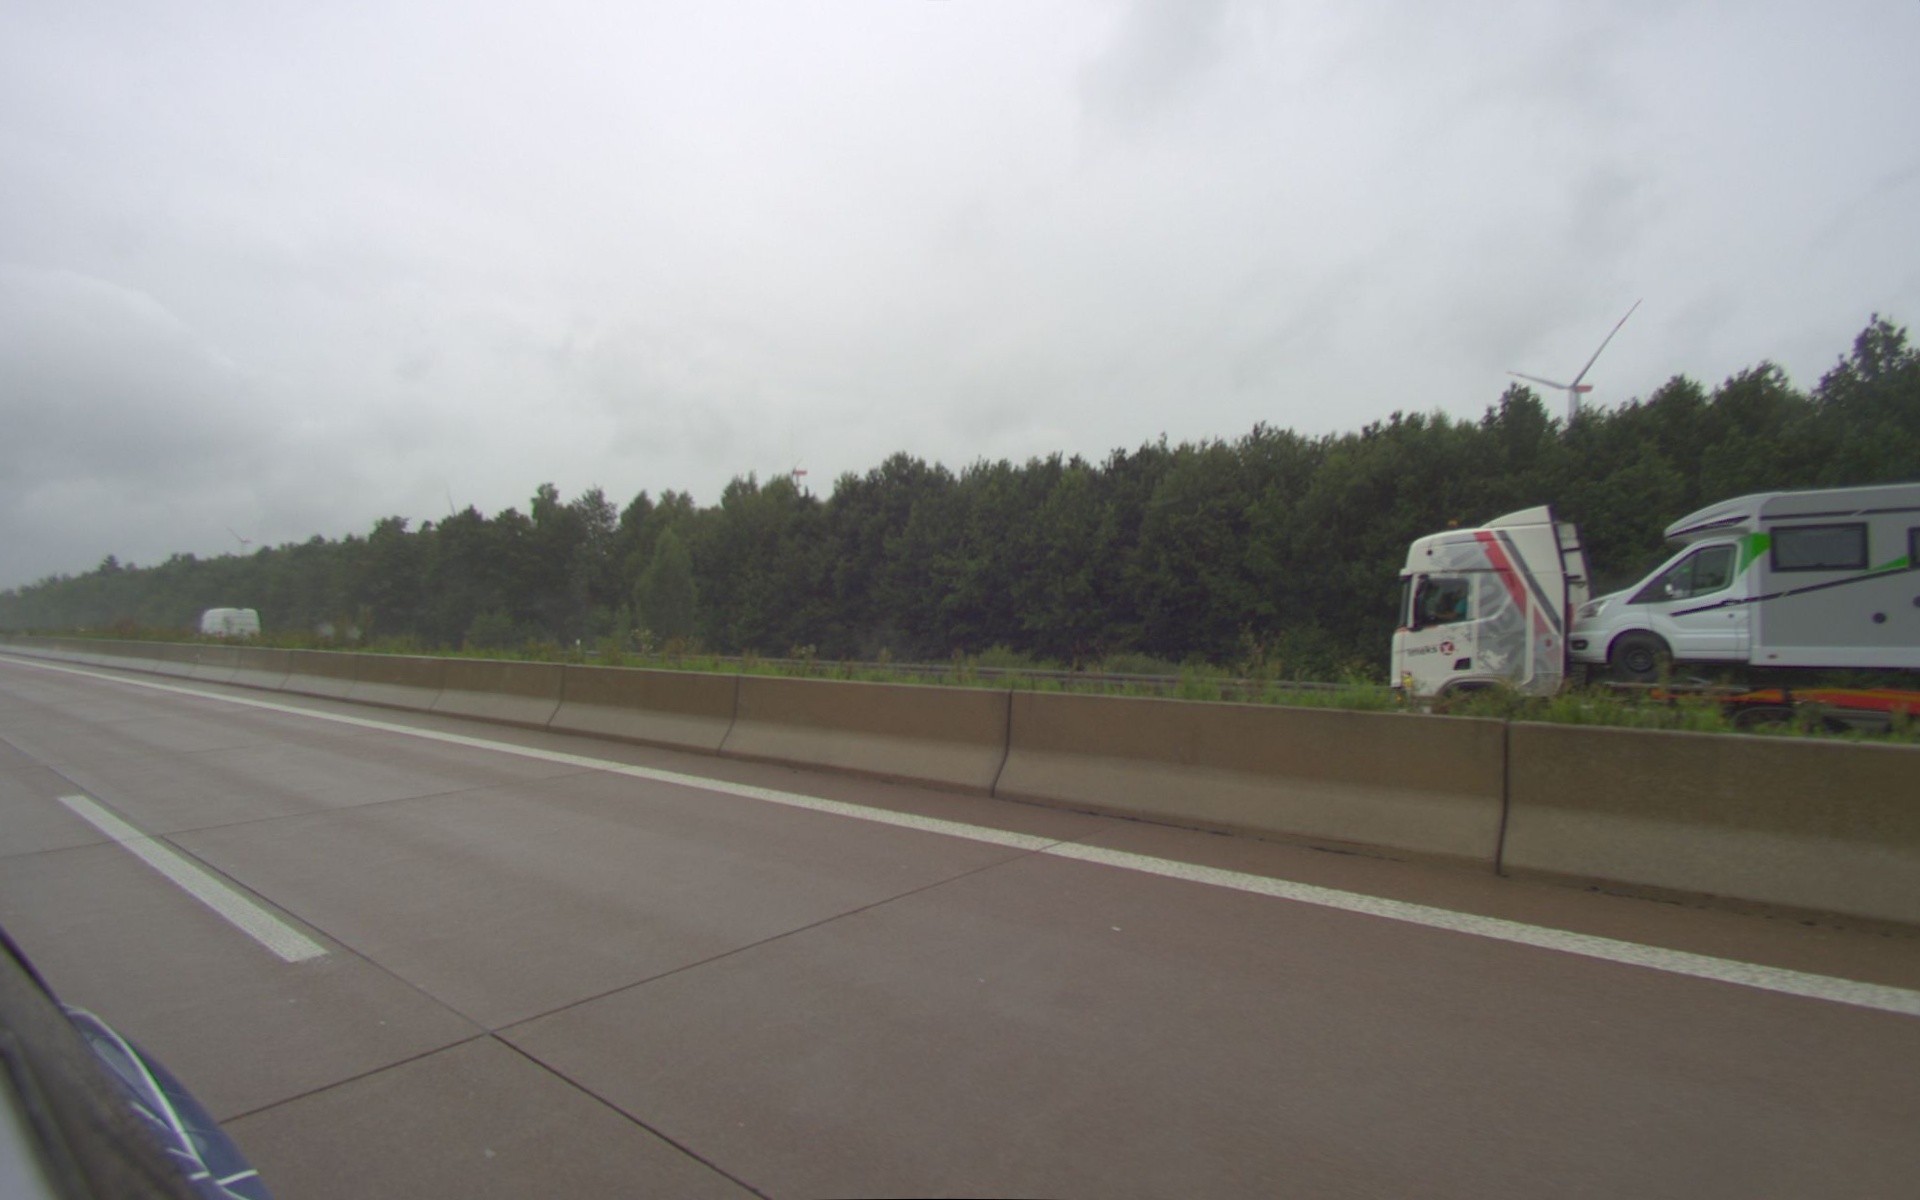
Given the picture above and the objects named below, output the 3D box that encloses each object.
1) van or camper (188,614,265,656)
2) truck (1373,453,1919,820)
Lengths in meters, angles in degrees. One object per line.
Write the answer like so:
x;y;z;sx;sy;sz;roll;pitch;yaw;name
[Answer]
-41.107;1.938;56.673;5.716;2.222;2.108;-1;-1;39;van or camper
11.495;0.448;14.783;9.555;4.506;3.112;-1;0;42;truck
